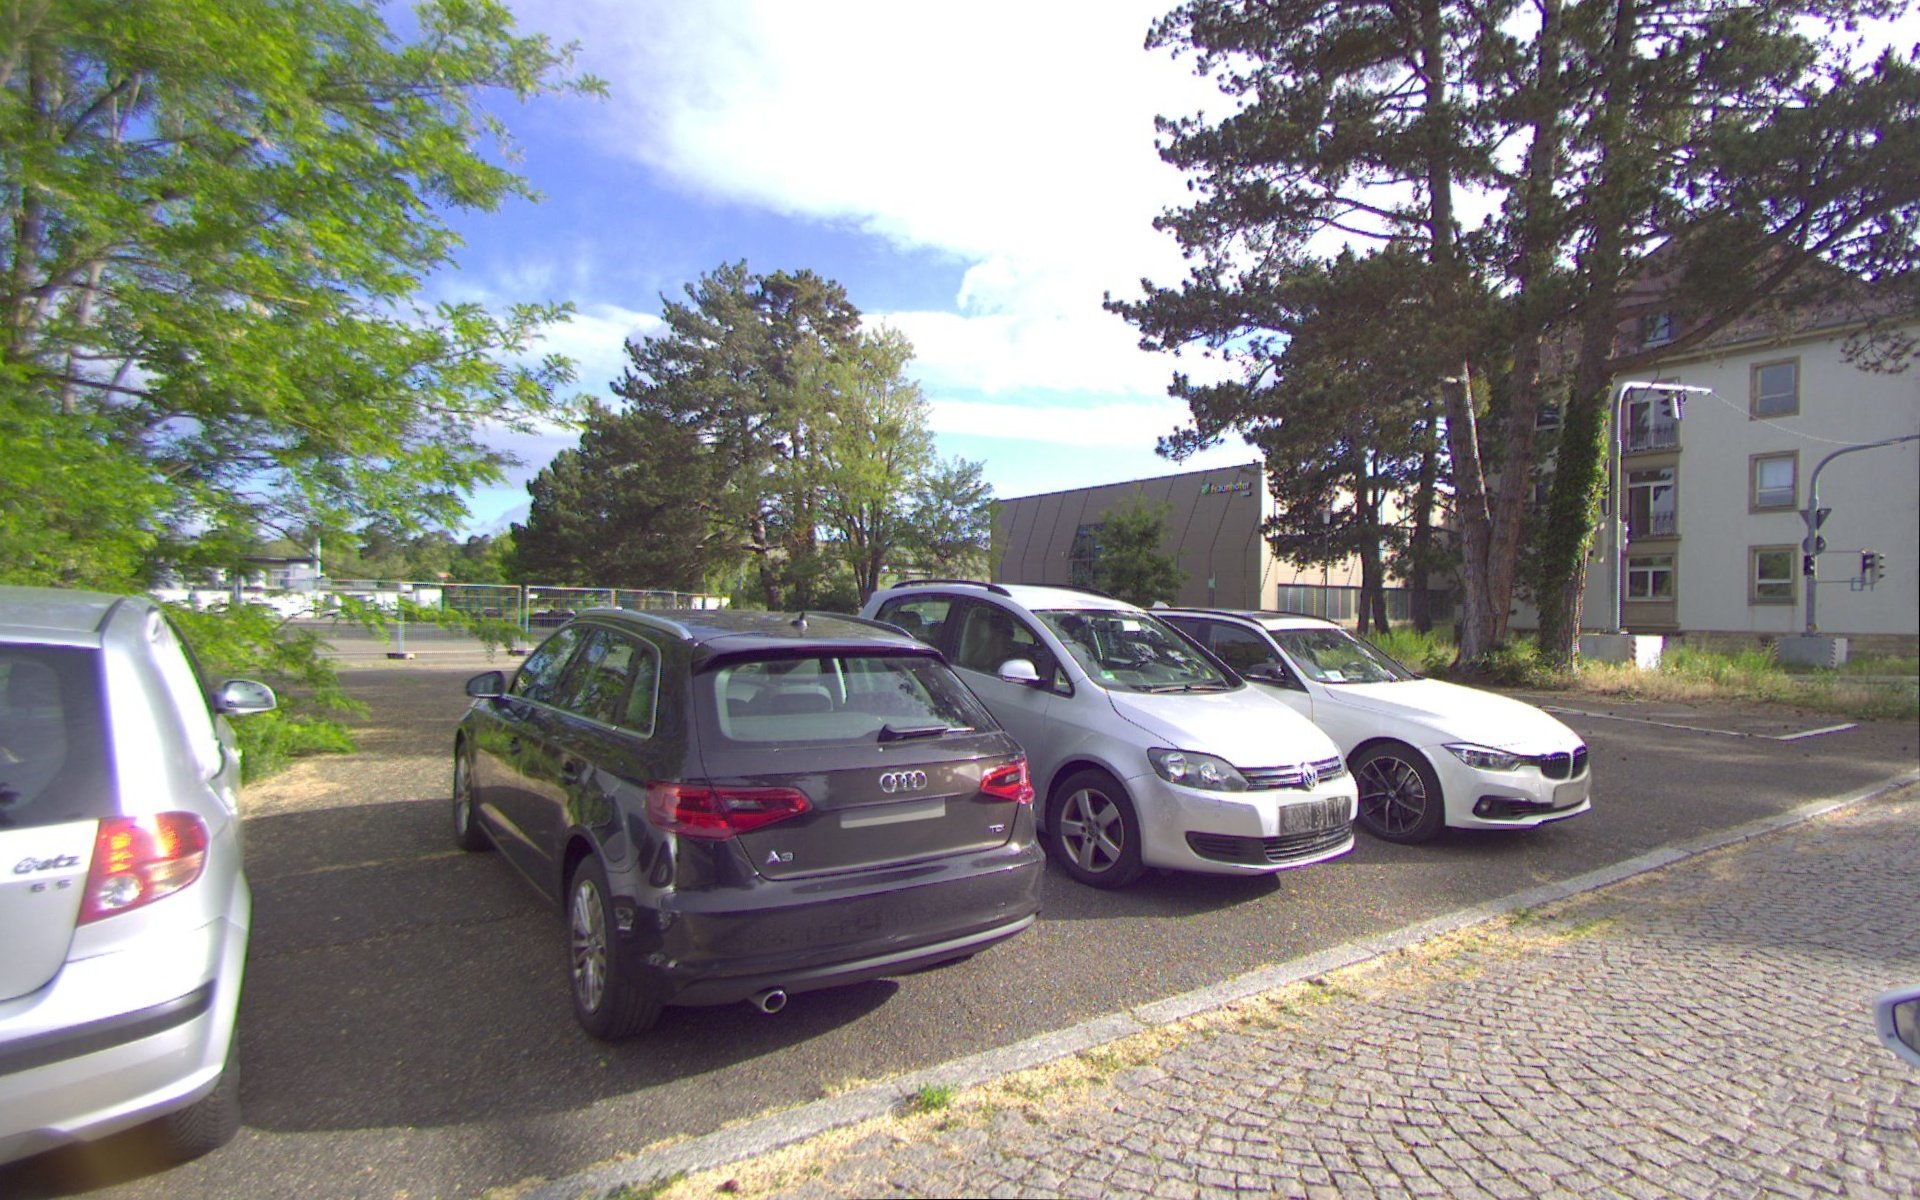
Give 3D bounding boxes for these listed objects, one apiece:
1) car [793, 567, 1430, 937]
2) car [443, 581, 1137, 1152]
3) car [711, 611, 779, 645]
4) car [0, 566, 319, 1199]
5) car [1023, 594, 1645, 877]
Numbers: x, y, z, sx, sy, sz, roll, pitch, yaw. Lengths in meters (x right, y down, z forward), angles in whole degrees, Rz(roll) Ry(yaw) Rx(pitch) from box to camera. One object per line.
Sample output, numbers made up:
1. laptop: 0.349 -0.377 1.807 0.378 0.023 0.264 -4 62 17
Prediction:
1. car: 0.699 0.677 6.837 1.843 1.621 4.088 1 2 -38
2. car: -1.183 0.729 4.850 1.840 1.449 3.803 2 2 -35
3. car: -9.639 1.218 44.775 1.647 1.400 3.963 2 -1 -33
4. car: -3.314 0.680 3.309 1.832 1.493 3.657 2 2 -35
5. car: 2.708 0.794 8.359 1.885 1.475 4.554 -1 3 -36
